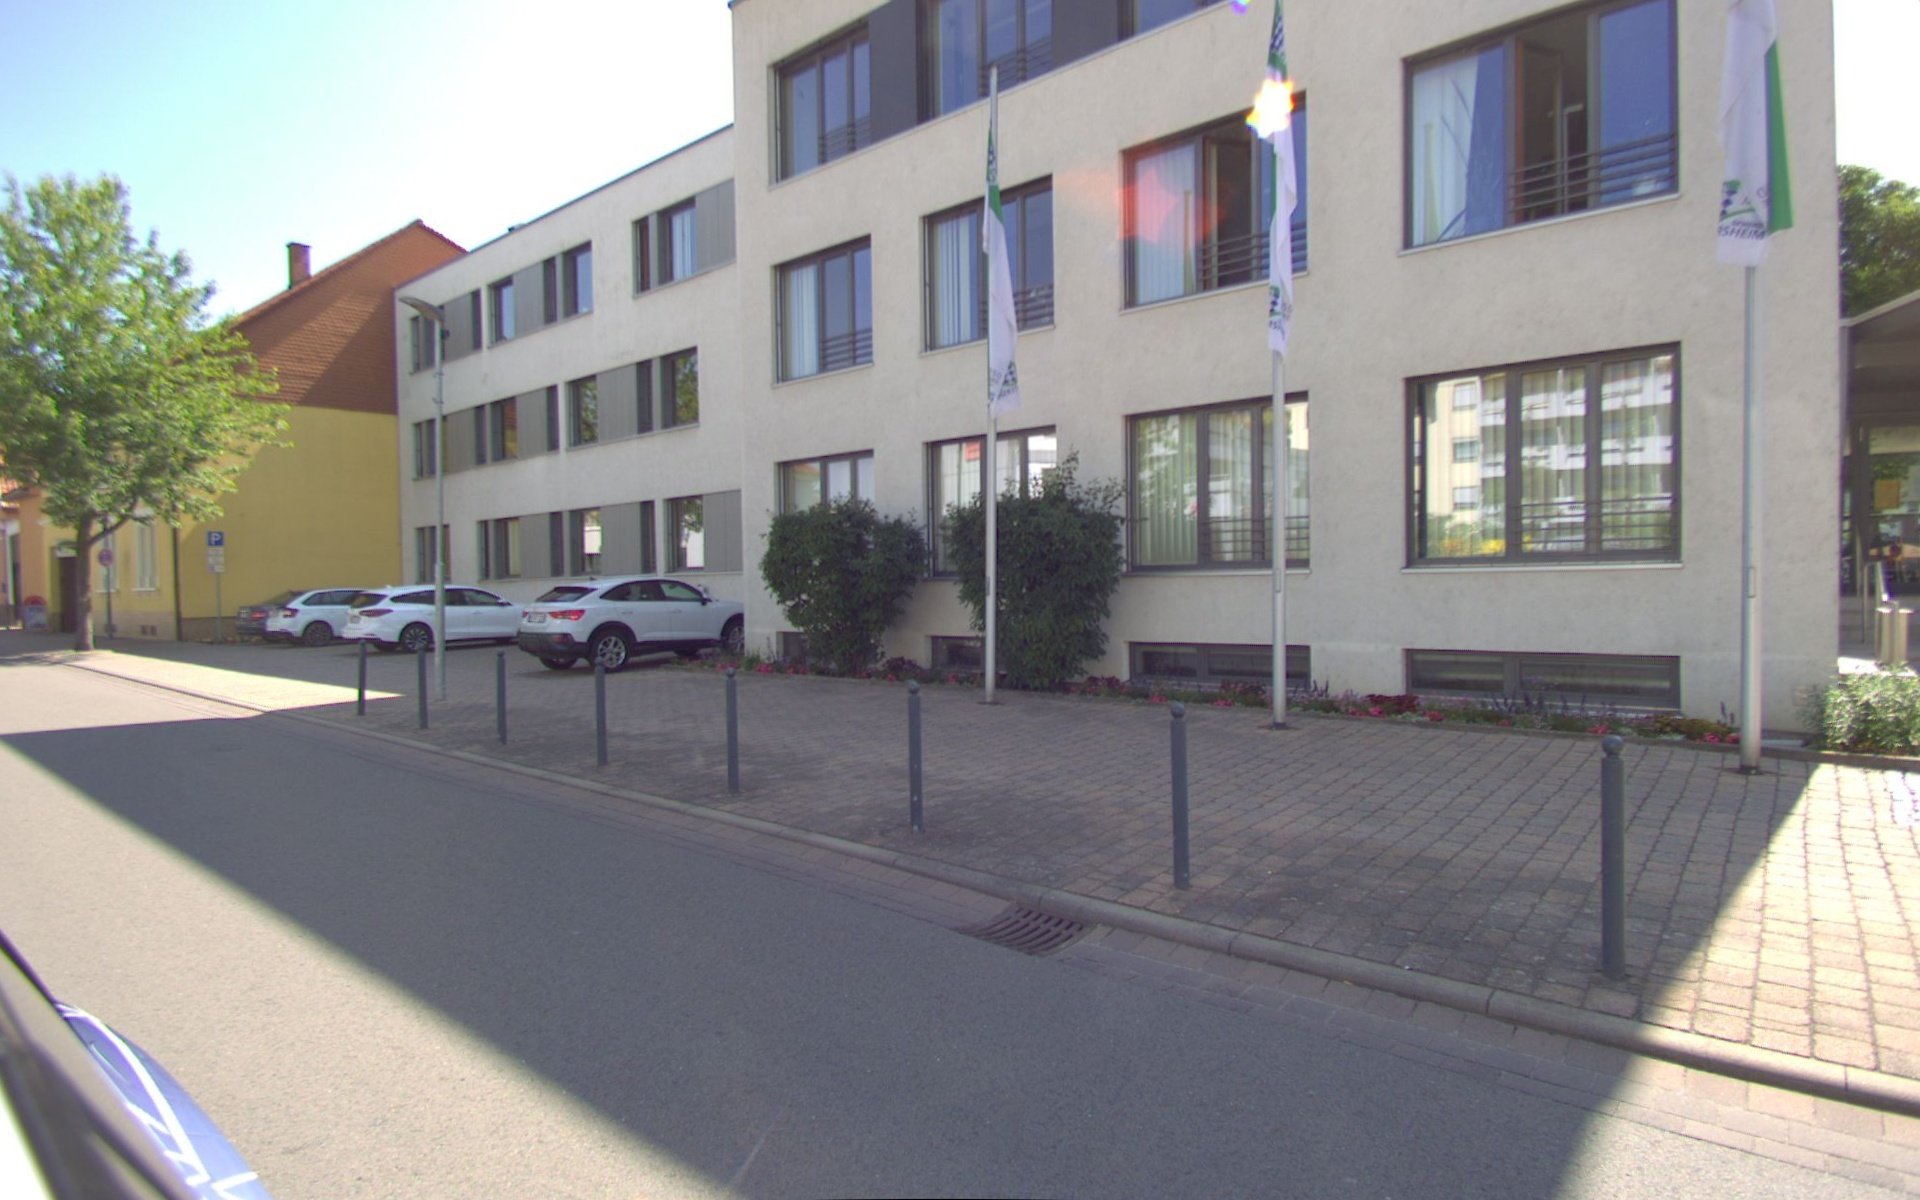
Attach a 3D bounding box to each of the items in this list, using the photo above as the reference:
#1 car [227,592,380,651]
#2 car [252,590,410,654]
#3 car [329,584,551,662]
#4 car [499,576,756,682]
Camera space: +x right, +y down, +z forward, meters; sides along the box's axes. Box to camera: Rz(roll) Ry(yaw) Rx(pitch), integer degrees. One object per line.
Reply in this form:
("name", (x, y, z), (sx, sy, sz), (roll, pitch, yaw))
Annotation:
("car", (-17.849, 0.549, 27.615), (1.373, 1.412, 3.218), (-1, 2, 38))
("car", (-16.197, 0.523, 26.147), (1.642, 1.461, 3.099), (0, 2, 41))
("car", (-11.836, 0.449, 23.275), (1.512, 1.489, 4.270), (0, 3, 40))
("car", (-5.700, 0.421, 17.736), (1.747, 1.559, 3.949), (-1, 2, 38))
